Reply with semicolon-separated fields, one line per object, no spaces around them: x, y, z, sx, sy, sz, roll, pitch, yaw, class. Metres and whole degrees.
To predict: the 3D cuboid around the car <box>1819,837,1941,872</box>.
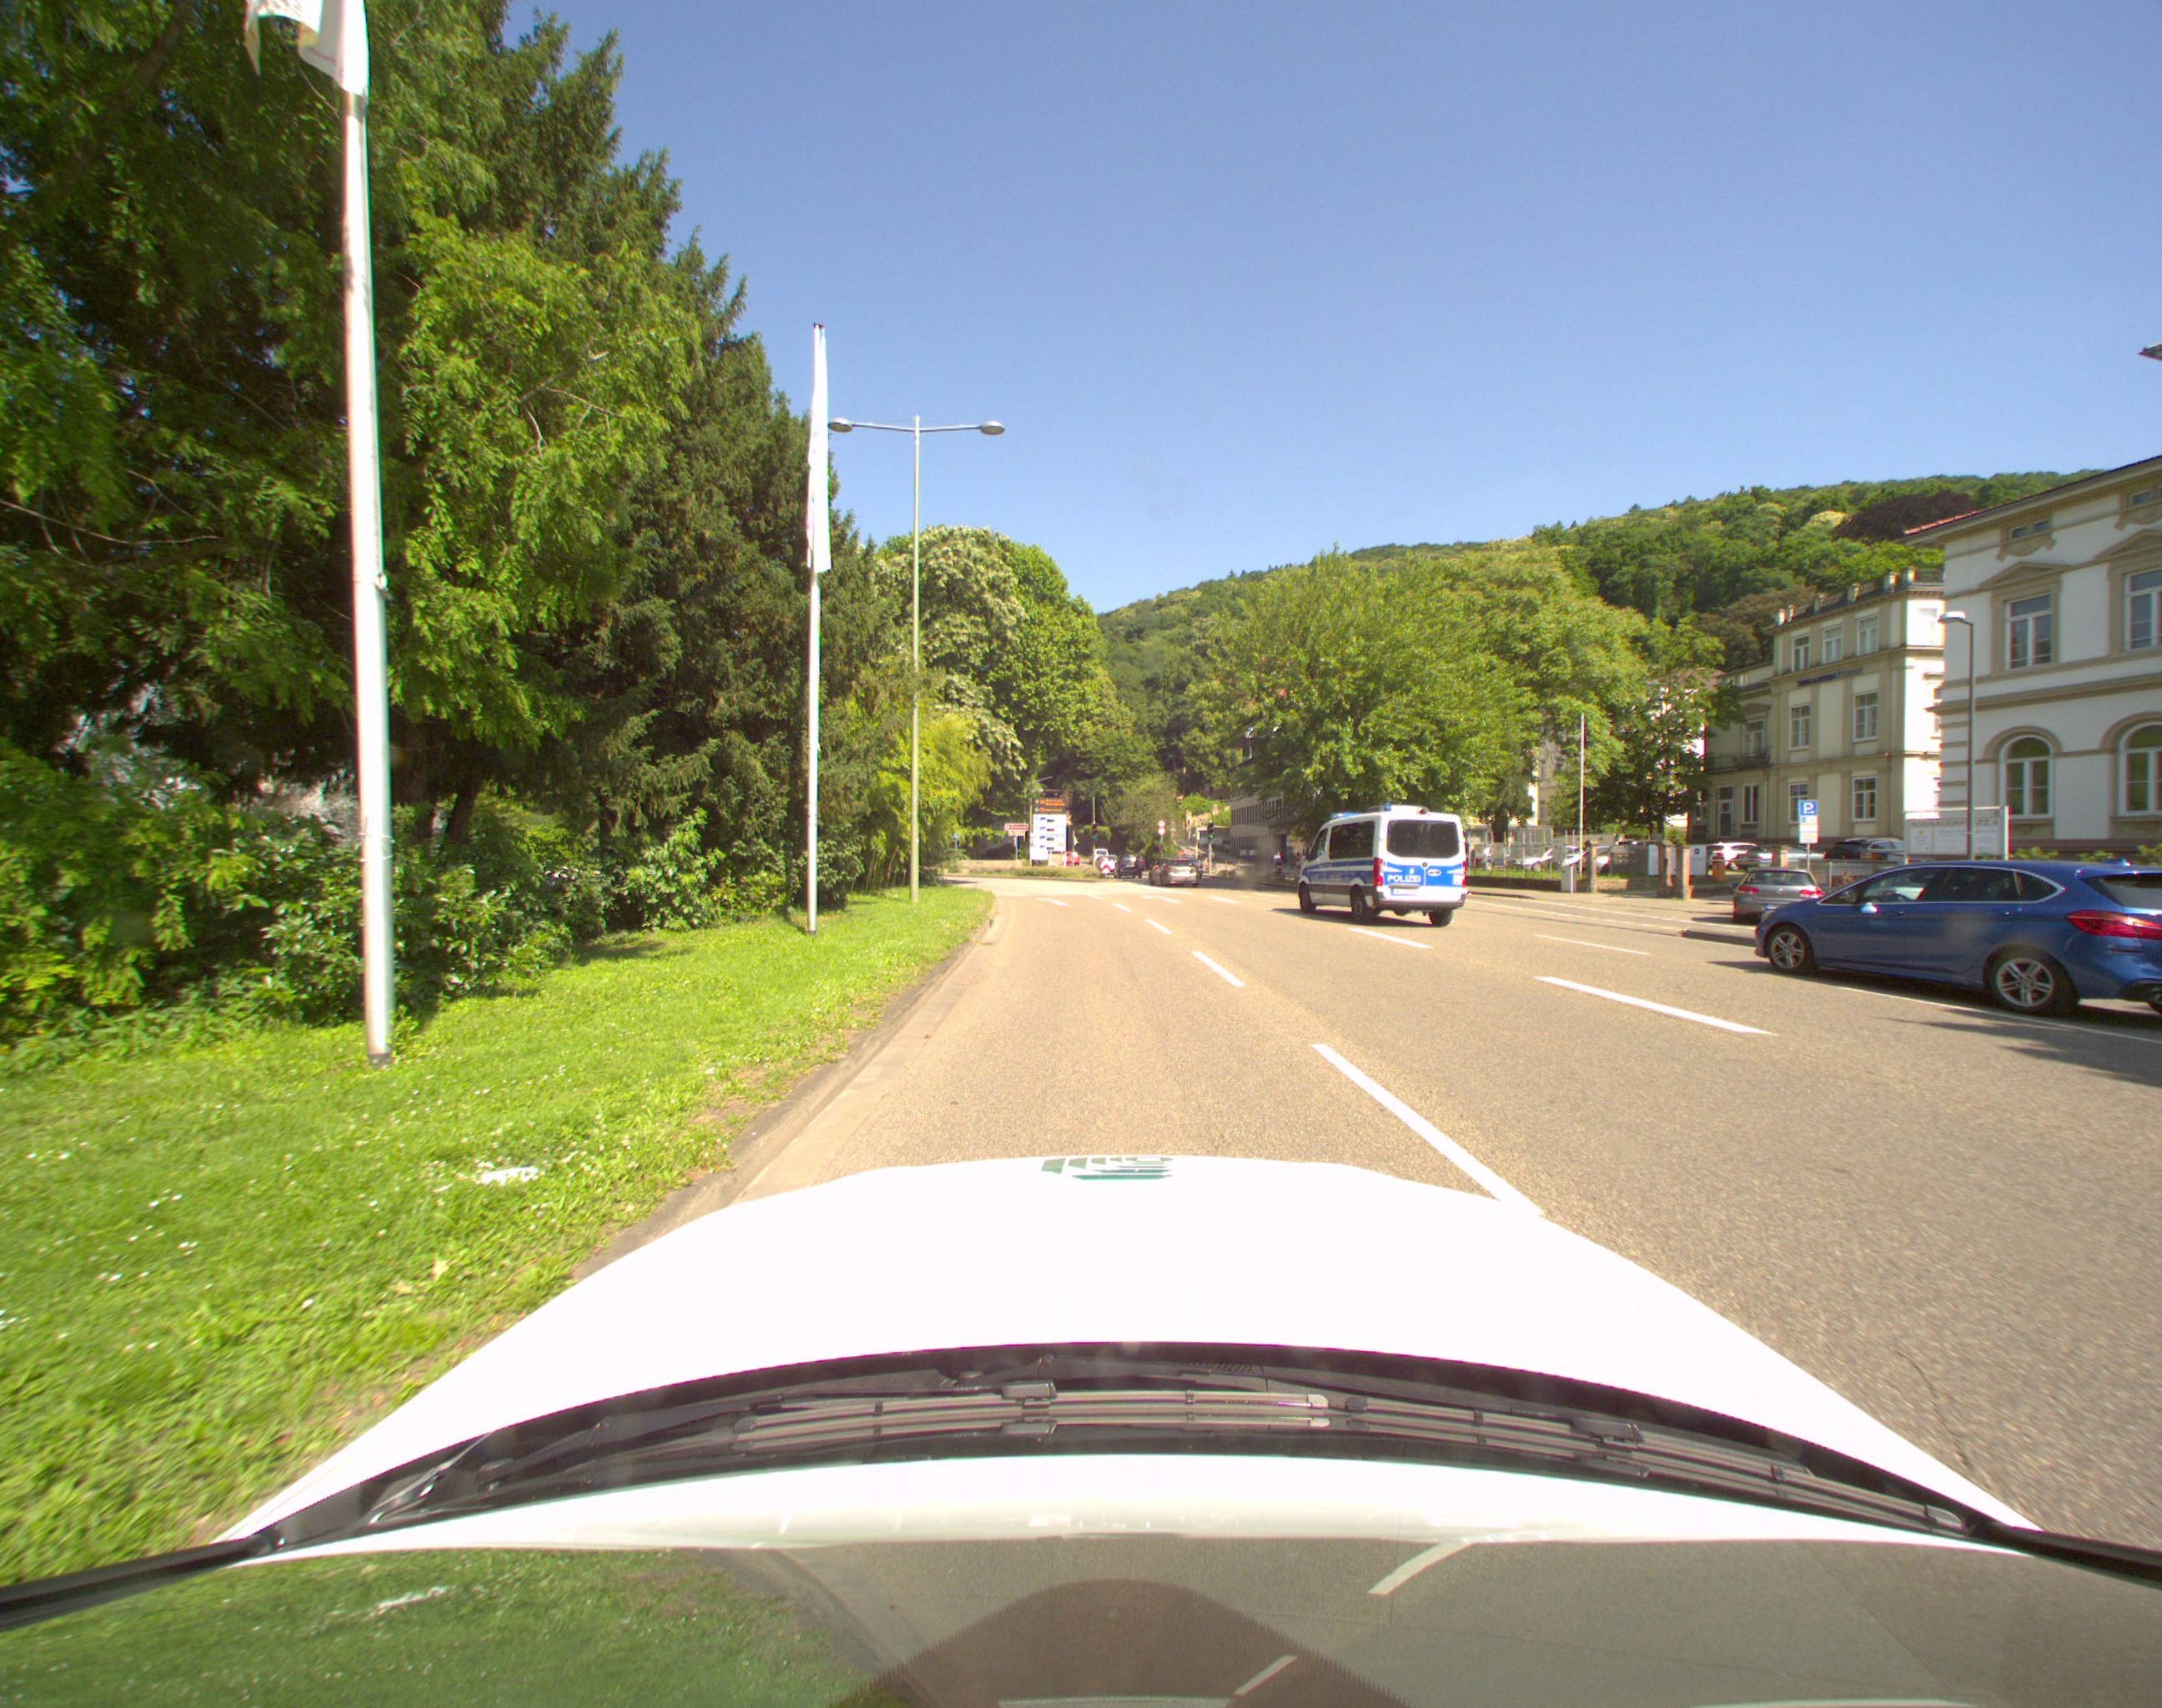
36.411;0.009;37.174;4.044;1.509;1.862;0;0;-6;car

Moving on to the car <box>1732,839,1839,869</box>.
35.167;-0.010;40.694;4.044;1.419;1.818;0;0;-6;car

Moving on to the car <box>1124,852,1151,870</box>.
4.775;0.553;69.296;1.753;1.461;3.641;0;0;-4;car

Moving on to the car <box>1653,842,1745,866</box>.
34.846;-0.012;45.991;4.035;1.336;1.818;0;0;-6;car

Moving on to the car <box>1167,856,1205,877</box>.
6.474;0.768;50.547;1.753;1.213;3.489;0;0;-4;car

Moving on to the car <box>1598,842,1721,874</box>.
24.637;0.156;34.760;4.035;1.336;1.987;0;0;-6;car

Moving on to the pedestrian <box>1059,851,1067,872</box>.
-1.375;0.609;63.874;0.544;1.621;0.635;0;0;5;pedestrian

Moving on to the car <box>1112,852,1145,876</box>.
3.065;0.617;52.903;1.753;1.461;3.489;0;0;-4;car

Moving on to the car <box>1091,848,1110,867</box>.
2.111;0.378;88.934;1.753;1.938;3.489;0;0;-4;car

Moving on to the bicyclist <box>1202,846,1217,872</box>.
9.497;0.353;60.124;1.119;1.932;0.750;0;0;9;bicyclist

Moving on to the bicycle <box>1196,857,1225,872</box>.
9.540;0.762;60.123;2.064;1.112;0.758;0;0;8;bicycle

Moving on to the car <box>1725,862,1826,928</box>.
17.805;0.968;20.943;1.804;1.461;4.133;1;0;40;car

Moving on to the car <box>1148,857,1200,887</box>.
4.424;0.837;39.247;1.753;1.334;3.795;0;0;-5;car

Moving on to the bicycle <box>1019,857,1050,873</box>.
-3.315;0.799;58.074;2.059;1.112;0.761;0;0;21;bicycle

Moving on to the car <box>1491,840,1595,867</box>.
23.616;-0.026;41.713;4.460;1.336;1.818;0;0;-6;car

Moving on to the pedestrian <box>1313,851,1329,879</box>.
15.963;0.735;54.117;0.769;1.854;0.828;1;0;-3;pedestrian

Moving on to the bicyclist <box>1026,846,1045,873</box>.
-3.266;0.378;58.062;1.116;1.932;0.752;0;0;21;bicyclist

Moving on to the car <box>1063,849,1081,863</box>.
-0.984;0.169;85.658;1.753;1.461;3.489;0;0;-4;car

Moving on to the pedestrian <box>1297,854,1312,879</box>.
14.911;0.808;54.315;0.769;1.663;0.828;1;0;-3;pedestrian

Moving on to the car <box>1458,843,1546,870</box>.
24.017;0.132;46.528;4.141;1.476;1.872;0;0;-9;car

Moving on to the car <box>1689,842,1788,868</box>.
35.191;0.039;43.667;4.071;1.336;1.818;0;0;-6;car

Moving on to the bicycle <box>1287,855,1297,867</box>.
17.849;0.603;68.949;0.404;1.012;1.340;0;0;-3;bicycle

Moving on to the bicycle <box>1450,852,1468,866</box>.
29.801;0.358;64.171;0.536;1.085;1.834;0;0;-2;bicycle

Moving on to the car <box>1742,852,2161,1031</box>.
10.090;0.776;9.269;1.713;1.541;4.272;1;0;1;car

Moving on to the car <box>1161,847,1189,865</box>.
8.999;0.172;78.350;1.927;1.697;3.995;0;0;-4;car

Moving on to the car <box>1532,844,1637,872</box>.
24.202;0.175;39.198;4.080;1.336;1.818;0;0;-6;car

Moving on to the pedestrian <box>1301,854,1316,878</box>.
15.475;0.813;55.461;0.769;1.663;0.829;1;0;-2;pedestrian

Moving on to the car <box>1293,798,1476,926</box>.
6.656;0.168;18.570;2.069;2.508;4.922;1;0;-4;car

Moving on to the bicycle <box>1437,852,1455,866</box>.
28.612;0.373;63.880;0.536;1.085;1.834;0;0;-2;bicycle

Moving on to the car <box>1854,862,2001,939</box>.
19.037;0.958;18.498;1.691;1.511;3.836;1;0;36;car

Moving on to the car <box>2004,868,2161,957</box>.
19.436;1.033;15.389;1.691;1.442;3.836;1;0;33;car

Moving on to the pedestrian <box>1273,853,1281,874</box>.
13.641;0.676;56.628;0.485;1.458;0.738;-1;-1;20;pedestrian

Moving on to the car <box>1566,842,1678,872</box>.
24.598;0.130;37.080;4.035;1.336;1.857;0;0;-6;car

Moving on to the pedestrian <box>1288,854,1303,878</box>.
14.681;0.822;55.627;0.769;1.663;0.828;1;0;-3;pedestrian

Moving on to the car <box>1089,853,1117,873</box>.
1.616;0.648;60.936;1.753;1.461;3.641;0;0;-4;car
